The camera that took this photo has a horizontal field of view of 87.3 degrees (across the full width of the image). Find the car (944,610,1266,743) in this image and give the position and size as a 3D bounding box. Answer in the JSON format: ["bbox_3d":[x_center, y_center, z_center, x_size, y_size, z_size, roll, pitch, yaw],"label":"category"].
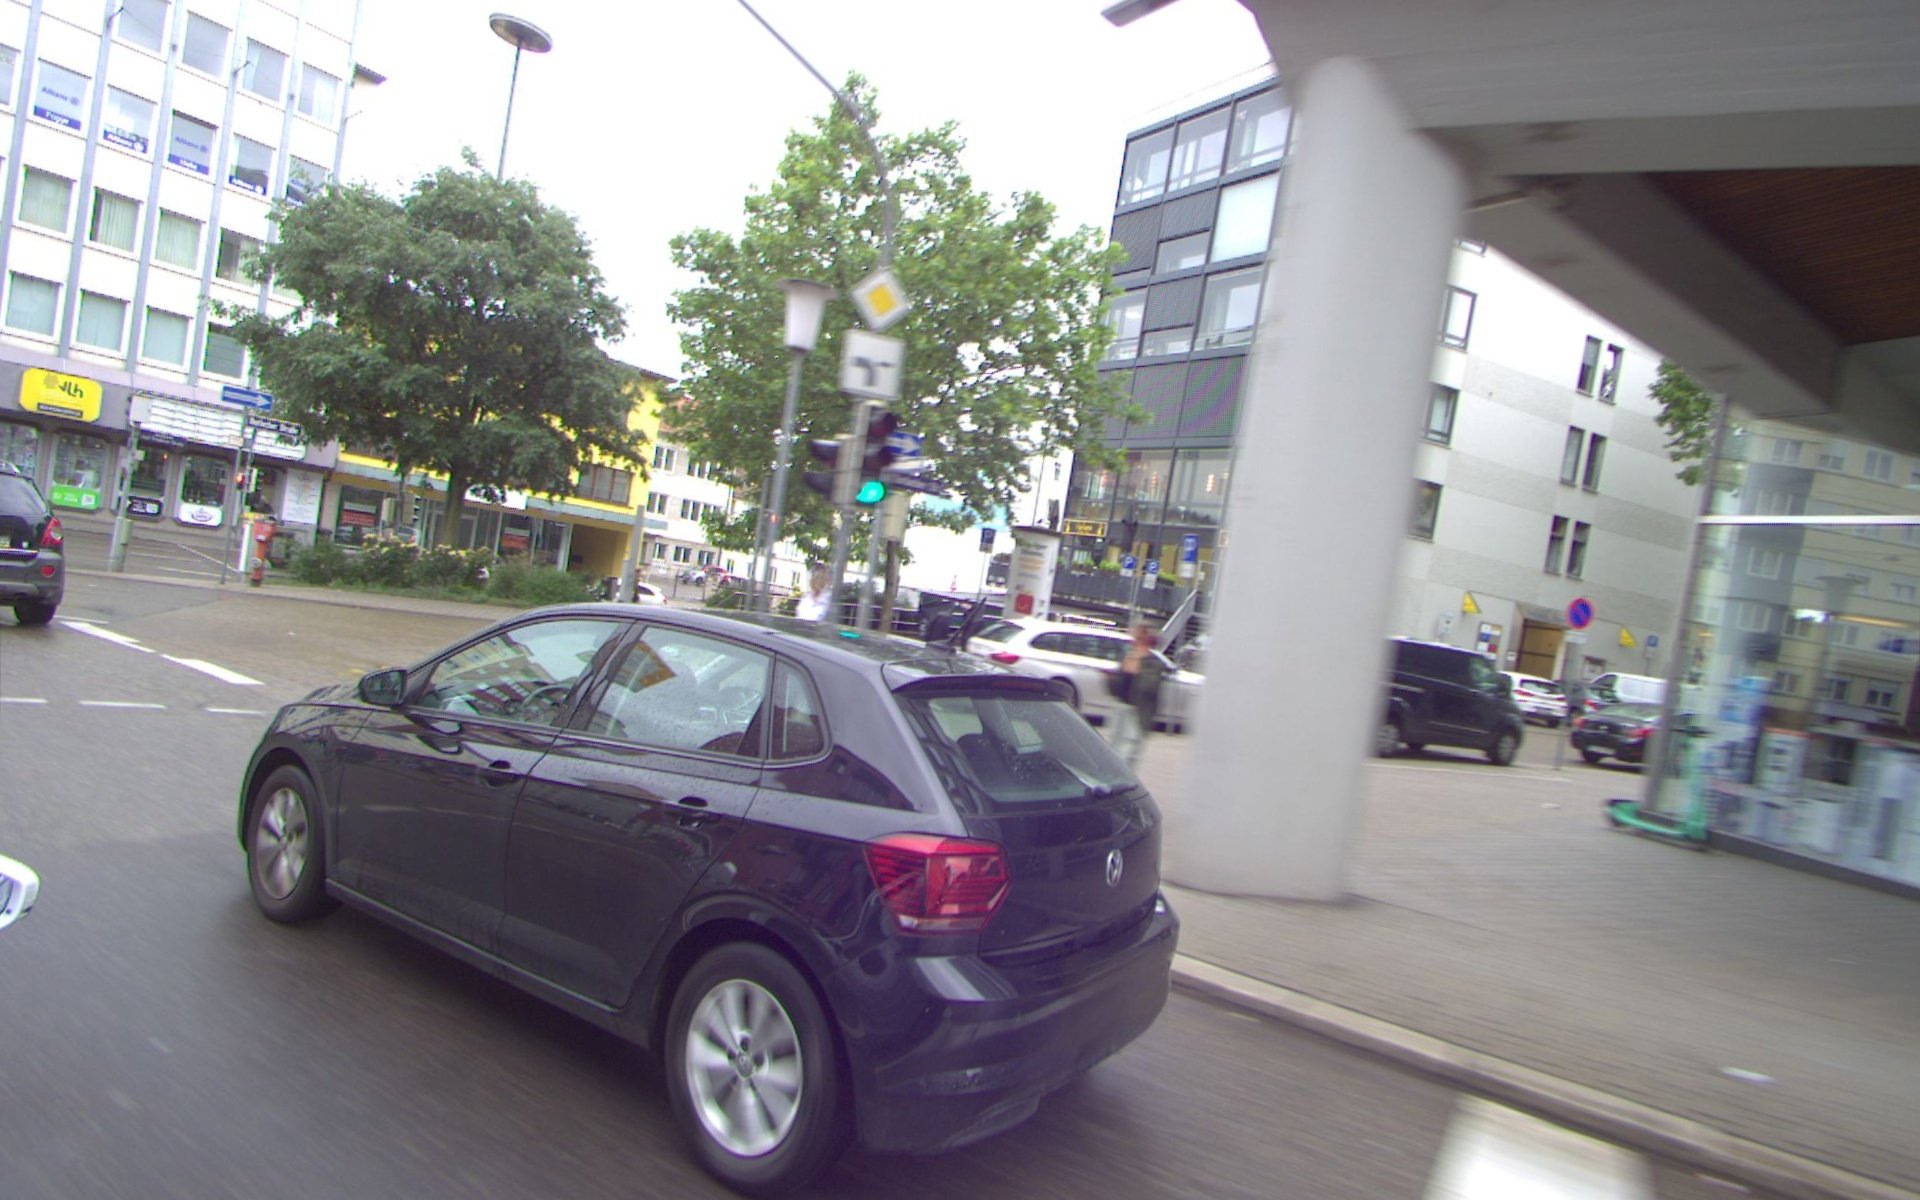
[{"bbox_3d":[2.354,1.239,16.302,4.786,1.512,1.848,8,-1,-22],"label":"car"}]

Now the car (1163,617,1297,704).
[{"bbox_3d":[7.363,1.610,27.871,1.603,1.657,3.918,8,3,-16],"label":"car"}]

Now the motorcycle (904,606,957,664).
[{"bbox_3d":[-0.745,0.834,24.572,0.620,1.131,1.931,7,3,-18],"label":"motorcycle"}]

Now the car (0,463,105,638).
[{"bbox_3d":[-11.662,-0.760,11.163,4.430,1.715,1.901,7,-1,31],"label":"car"}]

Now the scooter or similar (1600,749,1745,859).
[{"bbox_3d":[7.028,1.995,9.973,0.303,0.834,1.121,7,0,-20],"label":"scooter or similar"}]

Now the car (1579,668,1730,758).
[{"bbox_3d":[23.247,3.737,33.885,1.870,2.429,3.844,7,-1,-8],"label":"car"}]

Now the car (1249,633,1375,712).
[{"bbox_3d":[9.897,2.000,28.628,1.600,1.574,3.831,7,3,-9],"label":"car"}]

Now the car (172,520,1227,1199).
[{"bbox_3d":[-1.222,0.655,3.947,3.935,1.495,1.690,6,-1,33],"label":"car"}]

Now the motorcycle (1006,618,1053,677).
[{"bbox_3d":[1.676,1.126,24.506,0.618,1.132,2.085,7,4,-7],"label":"motorcycle"}]

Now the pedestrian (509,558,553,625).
[{"bbox_3d":[-12.525,-0.234,29.367,0.669,1.845,0.714,3,-6,36],"label":"pedestrian"}]

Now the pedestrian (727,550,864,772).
[{"bbox_3d":[-1.466,0.526,9.032,0.815,1.841,0.723,6,2,21],"label":"pedestrian"}]

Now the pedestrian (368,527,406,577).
[{"bbox_3d":[-23.364,-1.932,41.009,0.666,1.845,0.894,7,-4,11],"label":"pedestrian"}]

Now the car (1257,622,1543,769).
[{"bbox_3d":[7.754,1.694,17.634,4.751,2.022,1.947,7,0,-29],"label":"car"}]

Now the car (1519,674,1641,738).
[{"bbox_3d":[20.599,3.494,33.596,1.598,1.571,3.690,9,-1,1],"label":"car"}]

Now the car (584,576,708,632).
[{"bbox_3d":[-12.219,0.172,39.333,1.803,1.430,4.184,13,2,42],"label":"car"}]

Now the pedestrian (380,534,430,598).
[{"bbox_3d":[-17.952,-1.098,32.555,0.876,1.847,0.826,8,-2,28],"label":"pedestrian"}]

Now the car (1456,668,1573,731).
[{"bbox_3d":[17.918,3.181,32.697,1.597,1.572,3.690,7,-1,0],"label":"car"}]

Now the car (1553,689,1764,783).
[{"bbox_3d":[15.079,2.944,21.719,4.083,1.513,1.831,7,-1,-25],"label":"car"}]

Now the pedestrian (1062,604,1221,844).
[{"bbox_3d":[1.421,0.933,7.910,0.718,1.711,0.820,4,2,-41],"label":"pedestrian"}]
